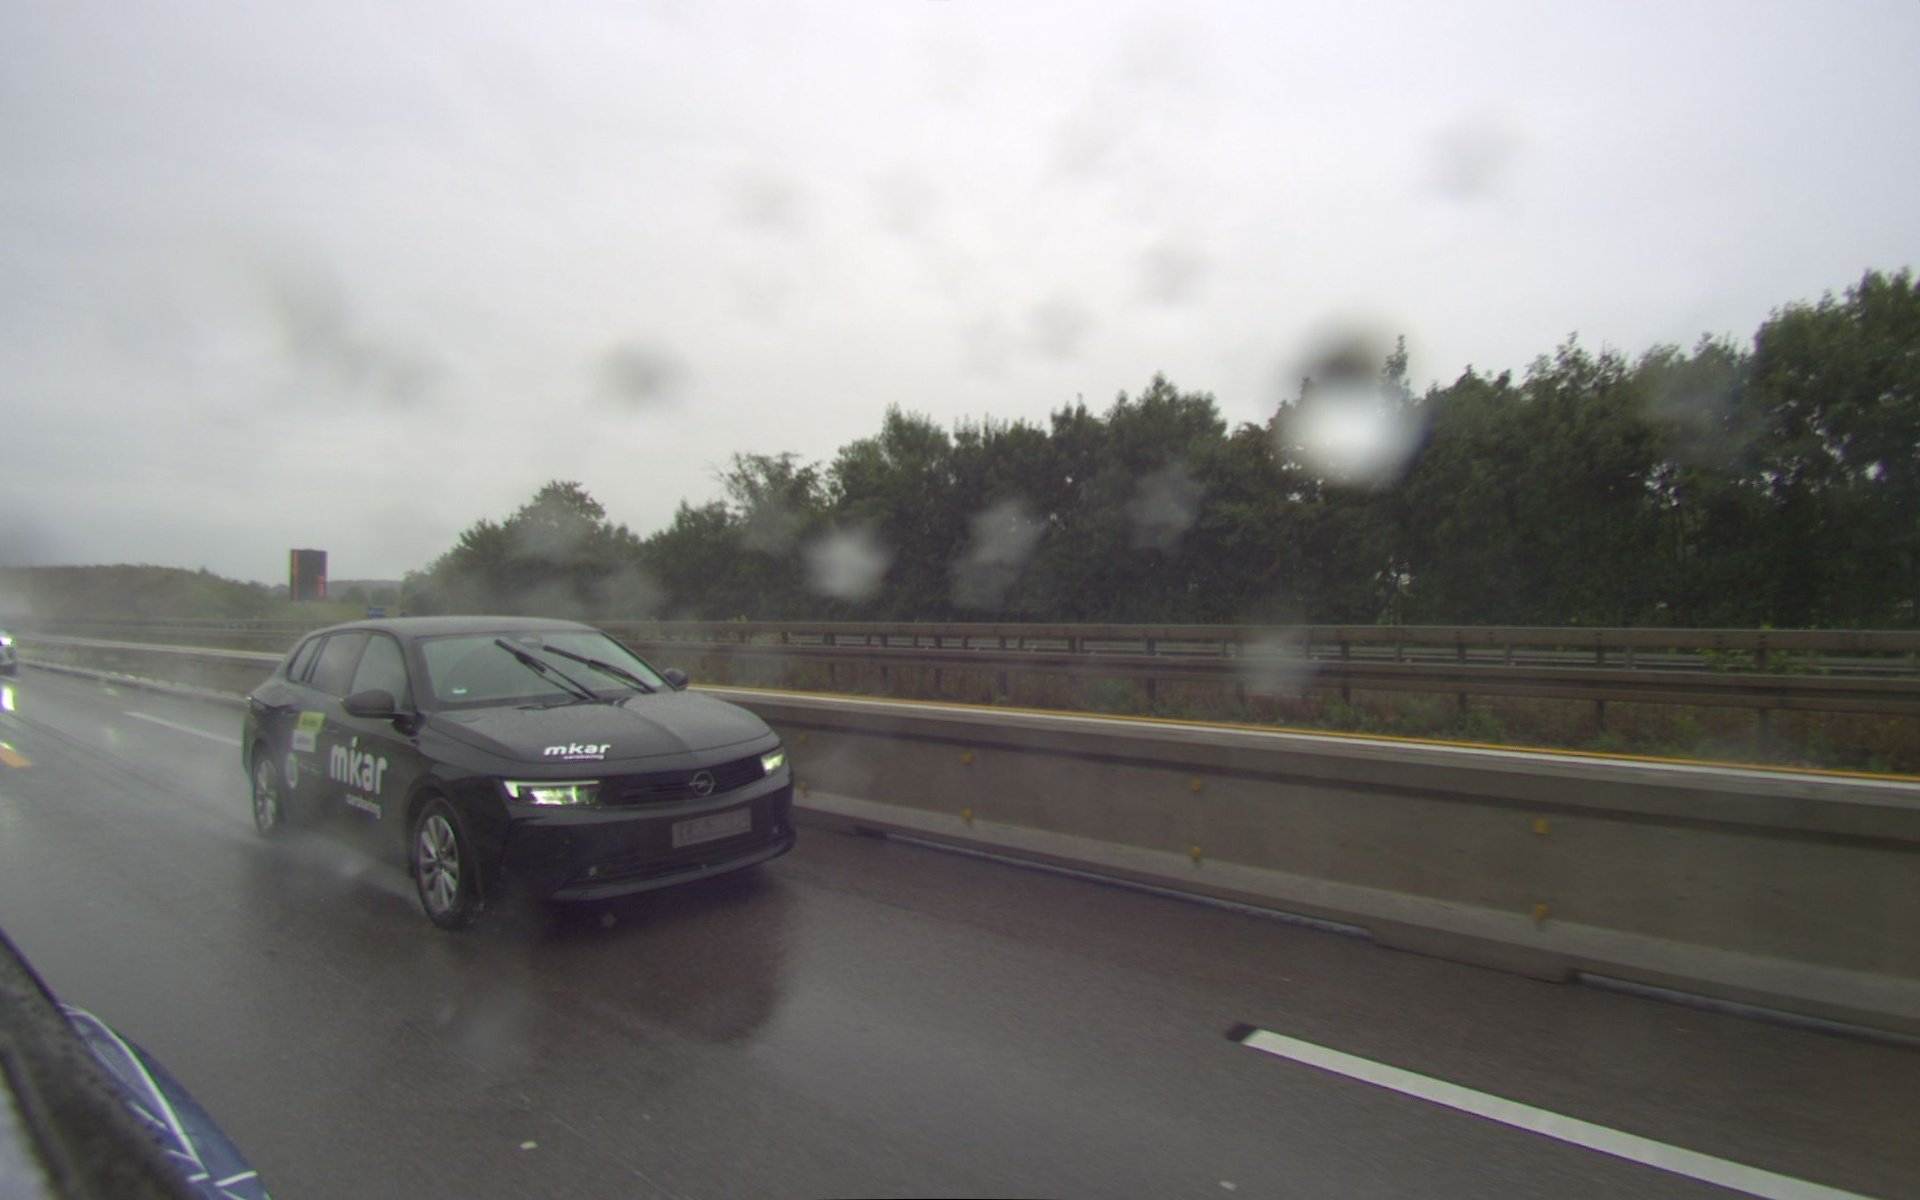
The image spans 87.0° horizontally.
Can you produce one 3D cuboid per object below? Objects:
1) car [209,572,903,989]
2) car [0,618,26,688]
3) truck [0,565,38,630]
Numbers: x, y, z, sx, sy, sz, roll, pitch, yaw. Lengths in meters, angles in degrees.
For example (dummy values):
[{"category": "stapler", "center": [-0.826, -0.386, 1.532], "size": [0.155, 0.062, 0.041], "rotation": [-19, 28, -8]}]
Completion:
[{"category": "car", "center": [-2.712, 0.711, 6.067], "size": [4.794, 1.539, 1.918], "rotation": [-1, -2, 41]}, {"category": "car", "center": [-25.864, 1.345, 26.162], "size": [3.995, 1.693, 1.947], "rotation": [0, 0, 39]}, {"category": "truck", "center": [-65.624, -0.161, 68.885], "size": [9.825, 4.197, 2.974], "rotation": [0, -1, 41]}]
